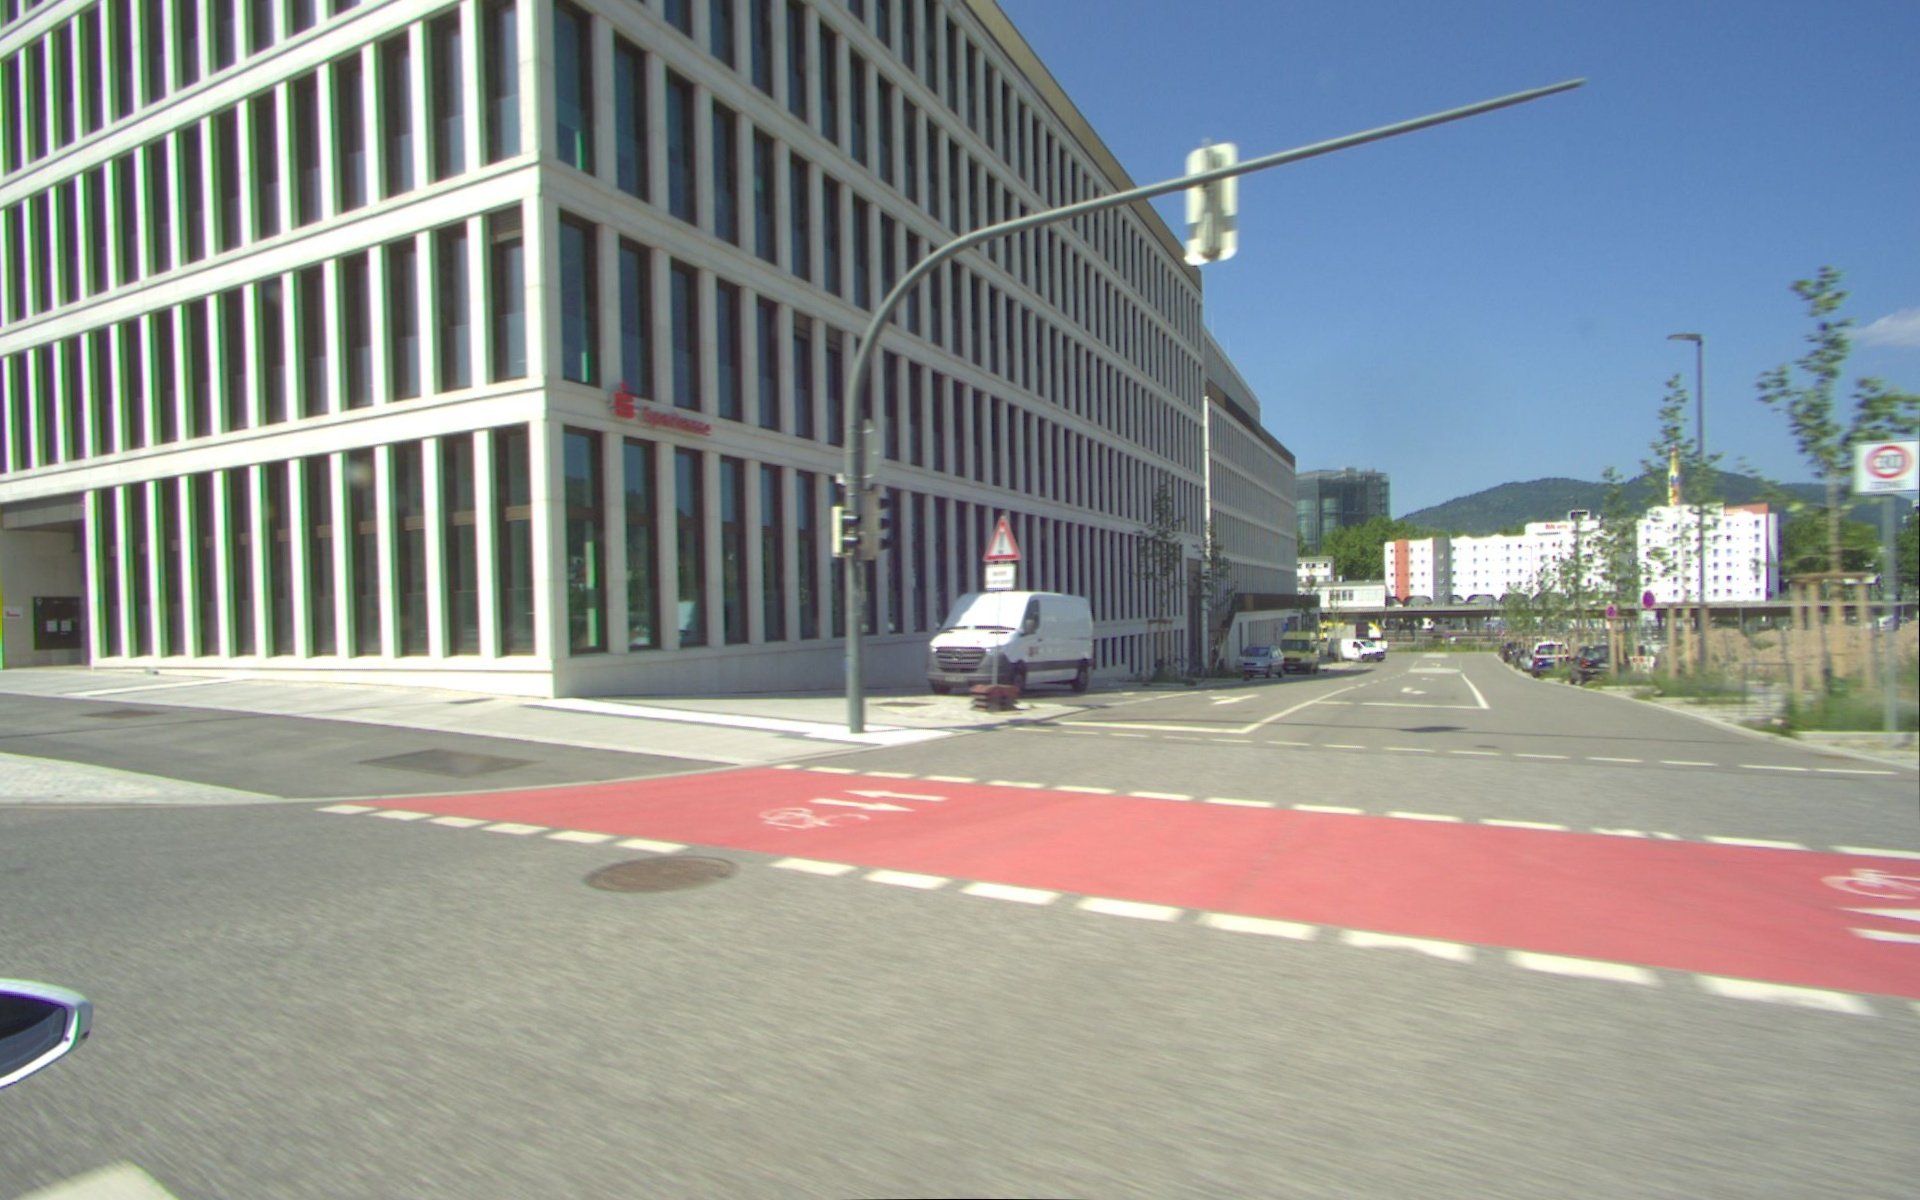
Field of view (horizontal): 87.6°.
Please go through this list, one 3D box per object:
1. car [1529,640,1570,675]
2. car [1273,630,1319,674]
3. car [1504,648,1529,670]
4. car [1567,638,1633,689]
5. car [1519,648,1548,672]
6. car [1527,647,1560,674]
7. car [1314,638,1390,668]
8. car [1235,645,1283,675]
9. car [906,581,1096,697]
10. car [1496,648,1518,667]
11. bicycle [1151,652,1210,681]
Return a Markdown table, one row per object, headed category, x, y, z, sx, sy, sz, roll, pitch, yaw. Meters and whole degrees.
| category | x | y | z | sx | sy | sz | roll | pitch | yaw |
| --- | --- | --- | --- | --- | --- | --- | --- | --- | --- |
| car | 31.308 | 3.057 | 53.253 | 1.631 | 1.641 | 3.686 | -1 | -6 | 28 |
| car | 20.992 | 3.299 | 62.468 | 2.044 | 2.504 | 6.136 | -1 | -4 | 25 |
| car | 44.567 | 4.748 | 80.261 | 1.631 | 1.642 | 3.683 | -1 | -4 | 28 |
| car | 22.507 | 2.187 | 35.320 | 1.631 | 1.614 | 3.680 | -1 | -1 | 28 |
| car | 40.526 | 4.244 | 70.792 | 1.631 | 1.642 | 3.683 | -1 | -4 | 28 |
| car | 36.953 | 3.861 | 63.463 | 1.631 | 1.642 | 3.683 | -1 | -4 | 28 |
| car | 34.014 | 4.656 | 87.139 | 2.211 | 2.504 | 6.323 | 2 | -4 | -27 |
| car | 14.835 | 2.994 | 49.559 | 1.742 | 1.416 | 3.662 | -1 | -4 | 25 |
| car | 1.143 | 0.916 | 22.976 | 2.113 | 2.299 | 5.837 | -1 | -3 | 27 |
| car | 49.182 | 5.158 | 90.006 | 1.631 | 1.642 | 3.683 | -1 | -4 | 28 |
| bicycle | 7.936 | 2.383 | 36.127 | 1.957 | 1.005 | 0.707 | -1 | -1 | 31 |
